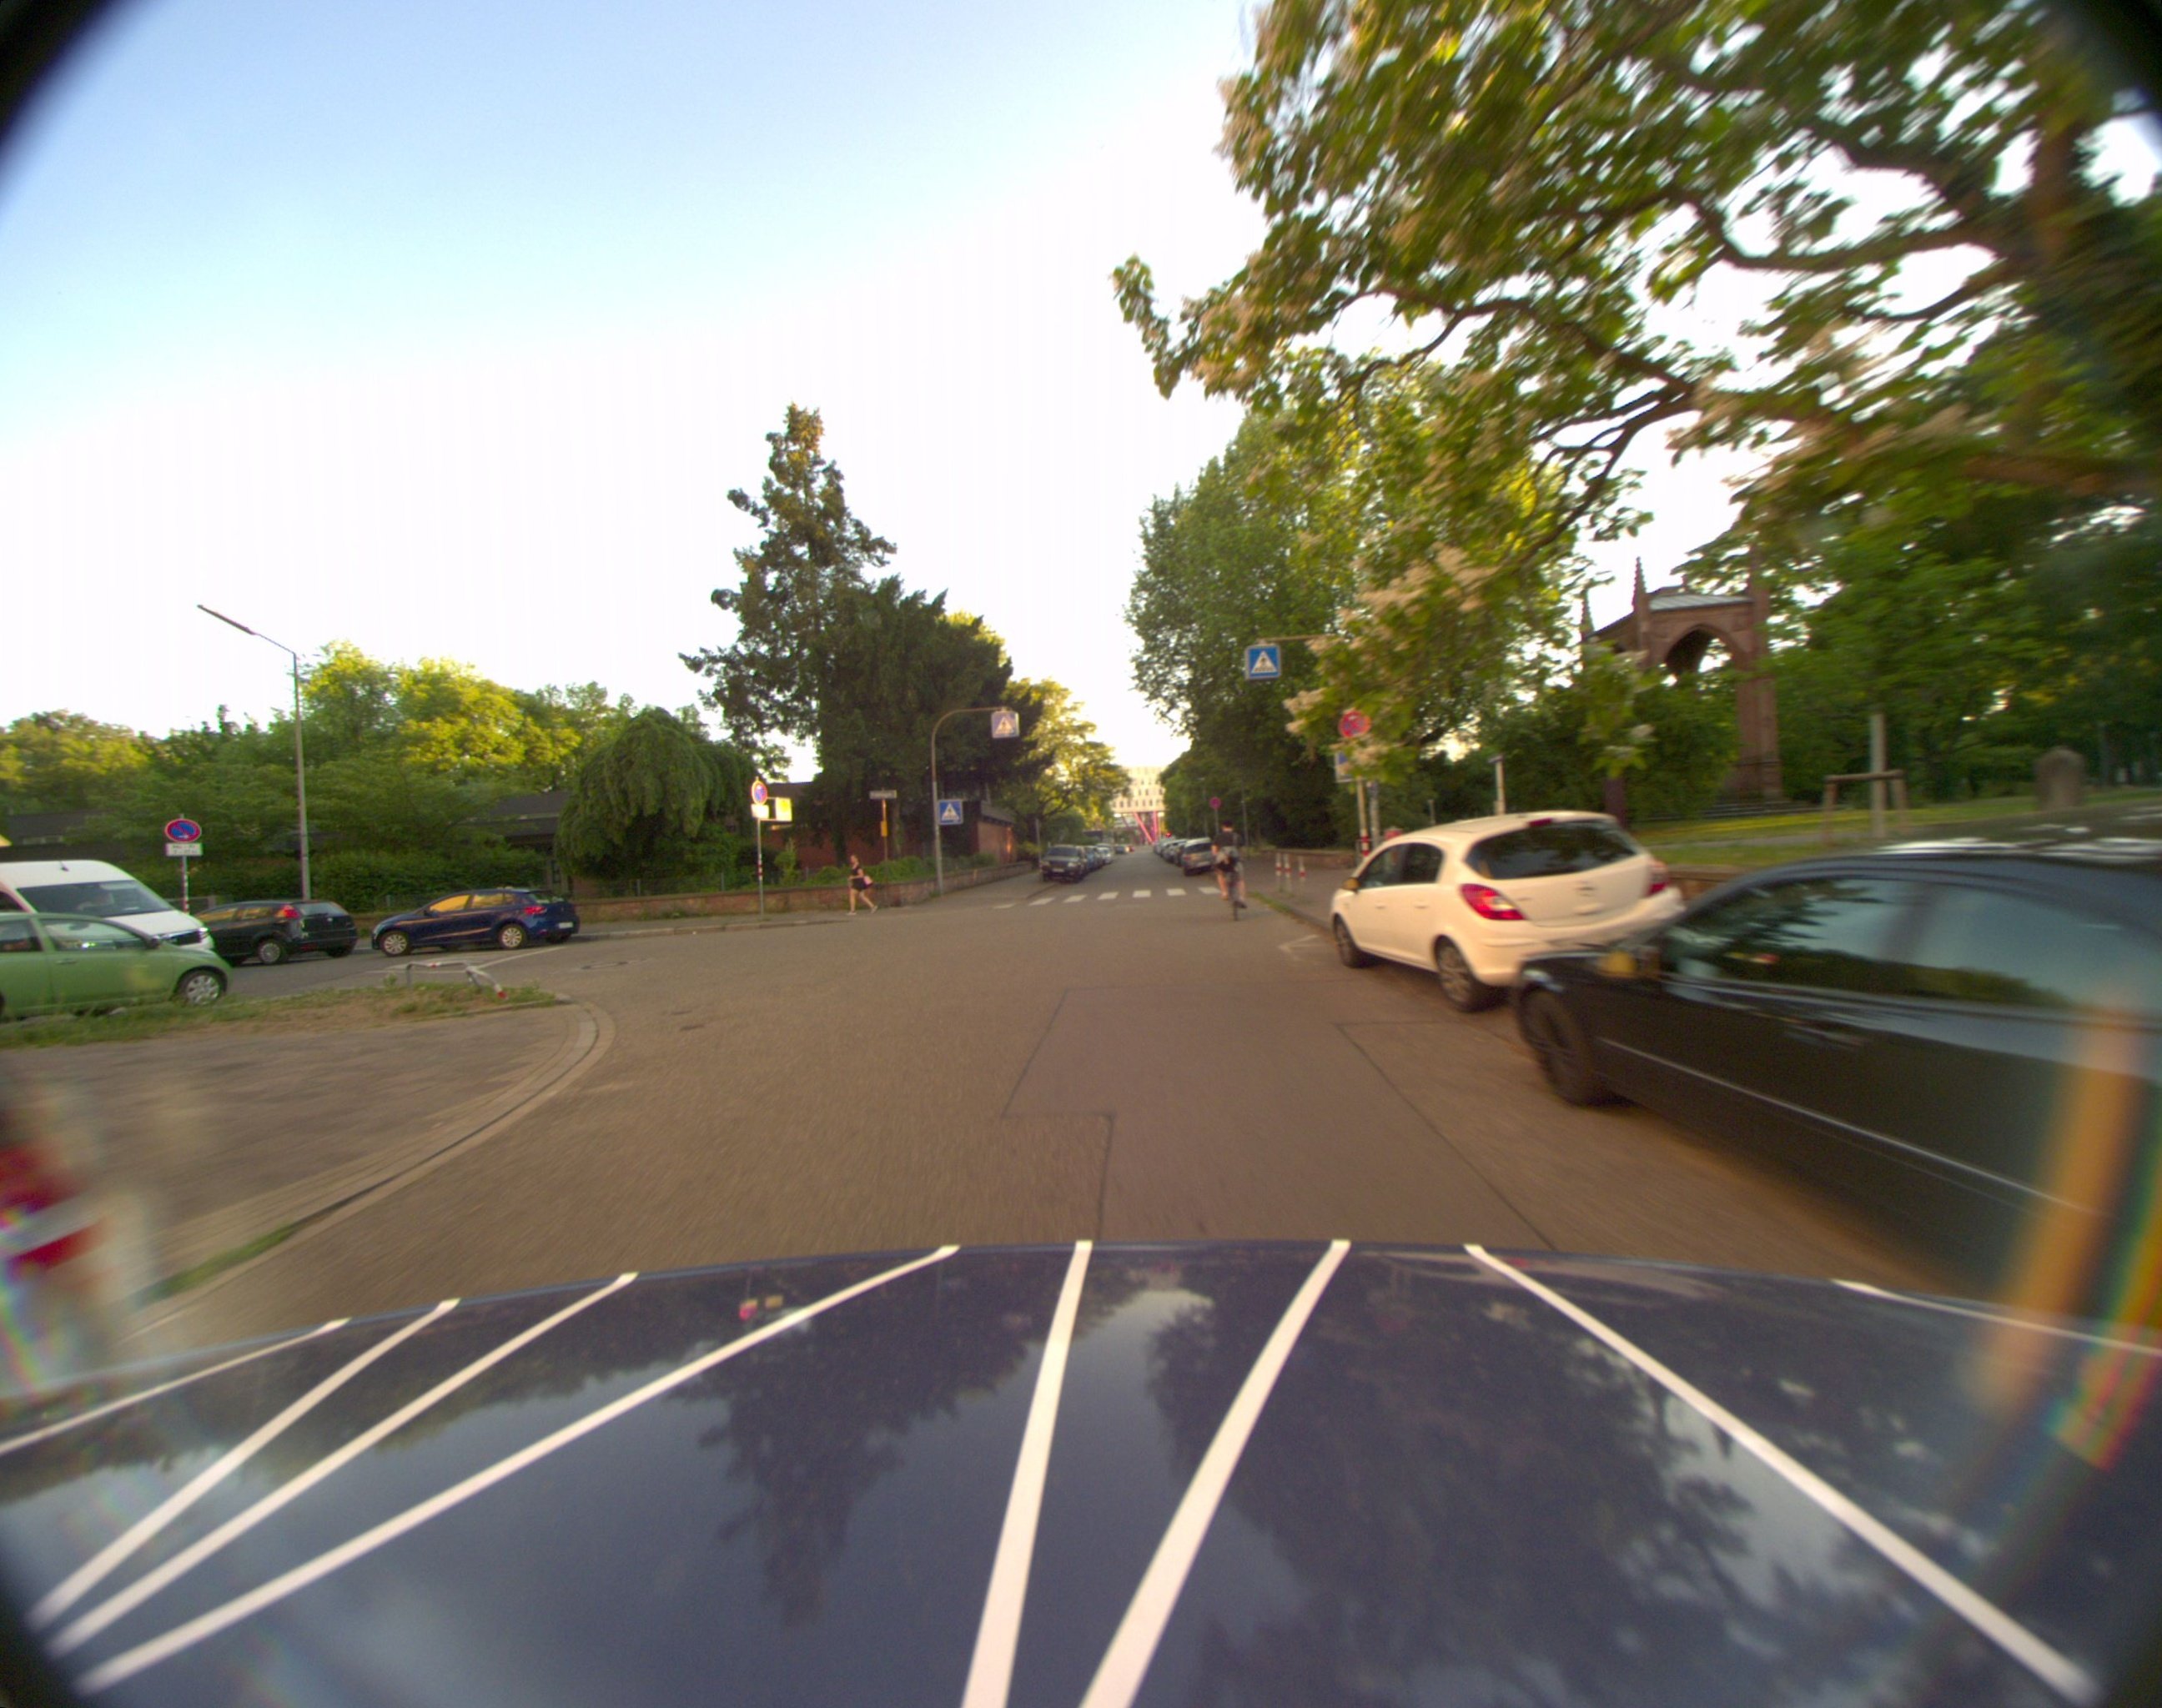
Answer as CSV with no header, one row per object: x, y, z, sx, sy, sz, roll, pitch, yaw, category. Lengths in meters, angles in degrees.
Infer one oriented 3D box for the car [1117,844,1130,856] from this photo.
6.936,-0.659,125.184,1.998,1.740,4.000,-5,1,3,car

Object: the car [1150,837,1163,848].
13.469,-2.056,135.033,1.786,1.772,4.012,-9,0,2,car

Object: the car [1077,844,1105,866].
0.735,0.059,52.676,1.786,1.491,3.884,0,1,2,car

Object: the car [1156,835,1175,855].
10.212,-1.098,92.399,1.786,2.025,3.884,-9,0,2,car

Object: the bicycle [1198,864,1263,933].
2.696,0.765,13.859,0.761,1.090,1.863,-2,1,-1,bicycle

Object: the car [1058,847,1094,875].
-0.238,0.343,41.577,1.786,1.491,3.884,0,1,2,car

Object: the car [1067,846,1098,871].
0.125,0.252,47.266,1.786,1.491,3.884,0,1,2,car

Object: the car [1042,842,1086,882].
-0.742,0.350,35.794,1.786,1.744,3.884,-1,1,2,car

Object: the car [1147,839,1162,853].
11.403,-1.223,117.958,1.786,1.772,4.012,-9,0,2,car

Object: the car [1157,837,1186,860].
7.180,-0.453,60.677,1.786,1.563,3.884,-9,0,2,car

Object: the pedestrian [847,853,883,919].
-5.865,0.843,20.611,0.826,1.716,0.860,0,2,-26,pedestrian

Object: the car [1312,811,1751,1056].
3.715,0.544,7.199,1.666,1.505,3.884,-7,0,-1,car

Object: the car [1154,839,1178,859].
7.924,-0.481,70.984,1.786,1.563,3.884,-9,0,2,car

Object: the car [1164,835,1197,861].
7.184,-0.422,55.191,1.786,1.563,3.884,-9,0,2,car

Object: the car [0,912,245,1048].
-13.714,1.647,9.893,1.626,1.503,3.572,-4,-2,0,car

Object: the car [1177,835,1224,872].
6.239,-0.055,39.971,1.786,1.568,3.884,-9,0,2,car

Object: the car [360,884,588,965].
-14.056,1.593,17.785,3.788,1.476,1.723,-4,0,-4,car

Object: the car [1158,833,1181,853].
9.481,-1.130,81.637,1.964,1.826,3.884,-9,0,2,car

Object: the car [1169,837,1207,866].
6.569,-0.183,46.962,1.786,1.468,3.884,-9,0,2,car

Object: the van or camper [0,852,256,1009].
-20.328,1.501,14.548,6.864,2.576,2.096,-4,2,4,van or camper

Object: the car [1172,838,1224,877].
5.393,0.141,35.348,1.786,1.442,3.884,-9,0,2,car

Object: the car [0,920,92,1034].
-16.462,1.872,9.918,1.828,1.543,3.999,-4,0,-2,car

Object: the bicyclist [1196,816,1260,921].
2.662,0.256,13.855,0.861,1.797,1.016,-3,1,-1,bicyclist

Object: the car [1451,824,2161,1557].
3.176,0.717,2.676,1.665,1.408,4.414,-9,0,4,car

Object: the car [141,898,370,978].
-19.087,1.908,17.679,3.508,1.476,1.534,-4,0,-1,car
